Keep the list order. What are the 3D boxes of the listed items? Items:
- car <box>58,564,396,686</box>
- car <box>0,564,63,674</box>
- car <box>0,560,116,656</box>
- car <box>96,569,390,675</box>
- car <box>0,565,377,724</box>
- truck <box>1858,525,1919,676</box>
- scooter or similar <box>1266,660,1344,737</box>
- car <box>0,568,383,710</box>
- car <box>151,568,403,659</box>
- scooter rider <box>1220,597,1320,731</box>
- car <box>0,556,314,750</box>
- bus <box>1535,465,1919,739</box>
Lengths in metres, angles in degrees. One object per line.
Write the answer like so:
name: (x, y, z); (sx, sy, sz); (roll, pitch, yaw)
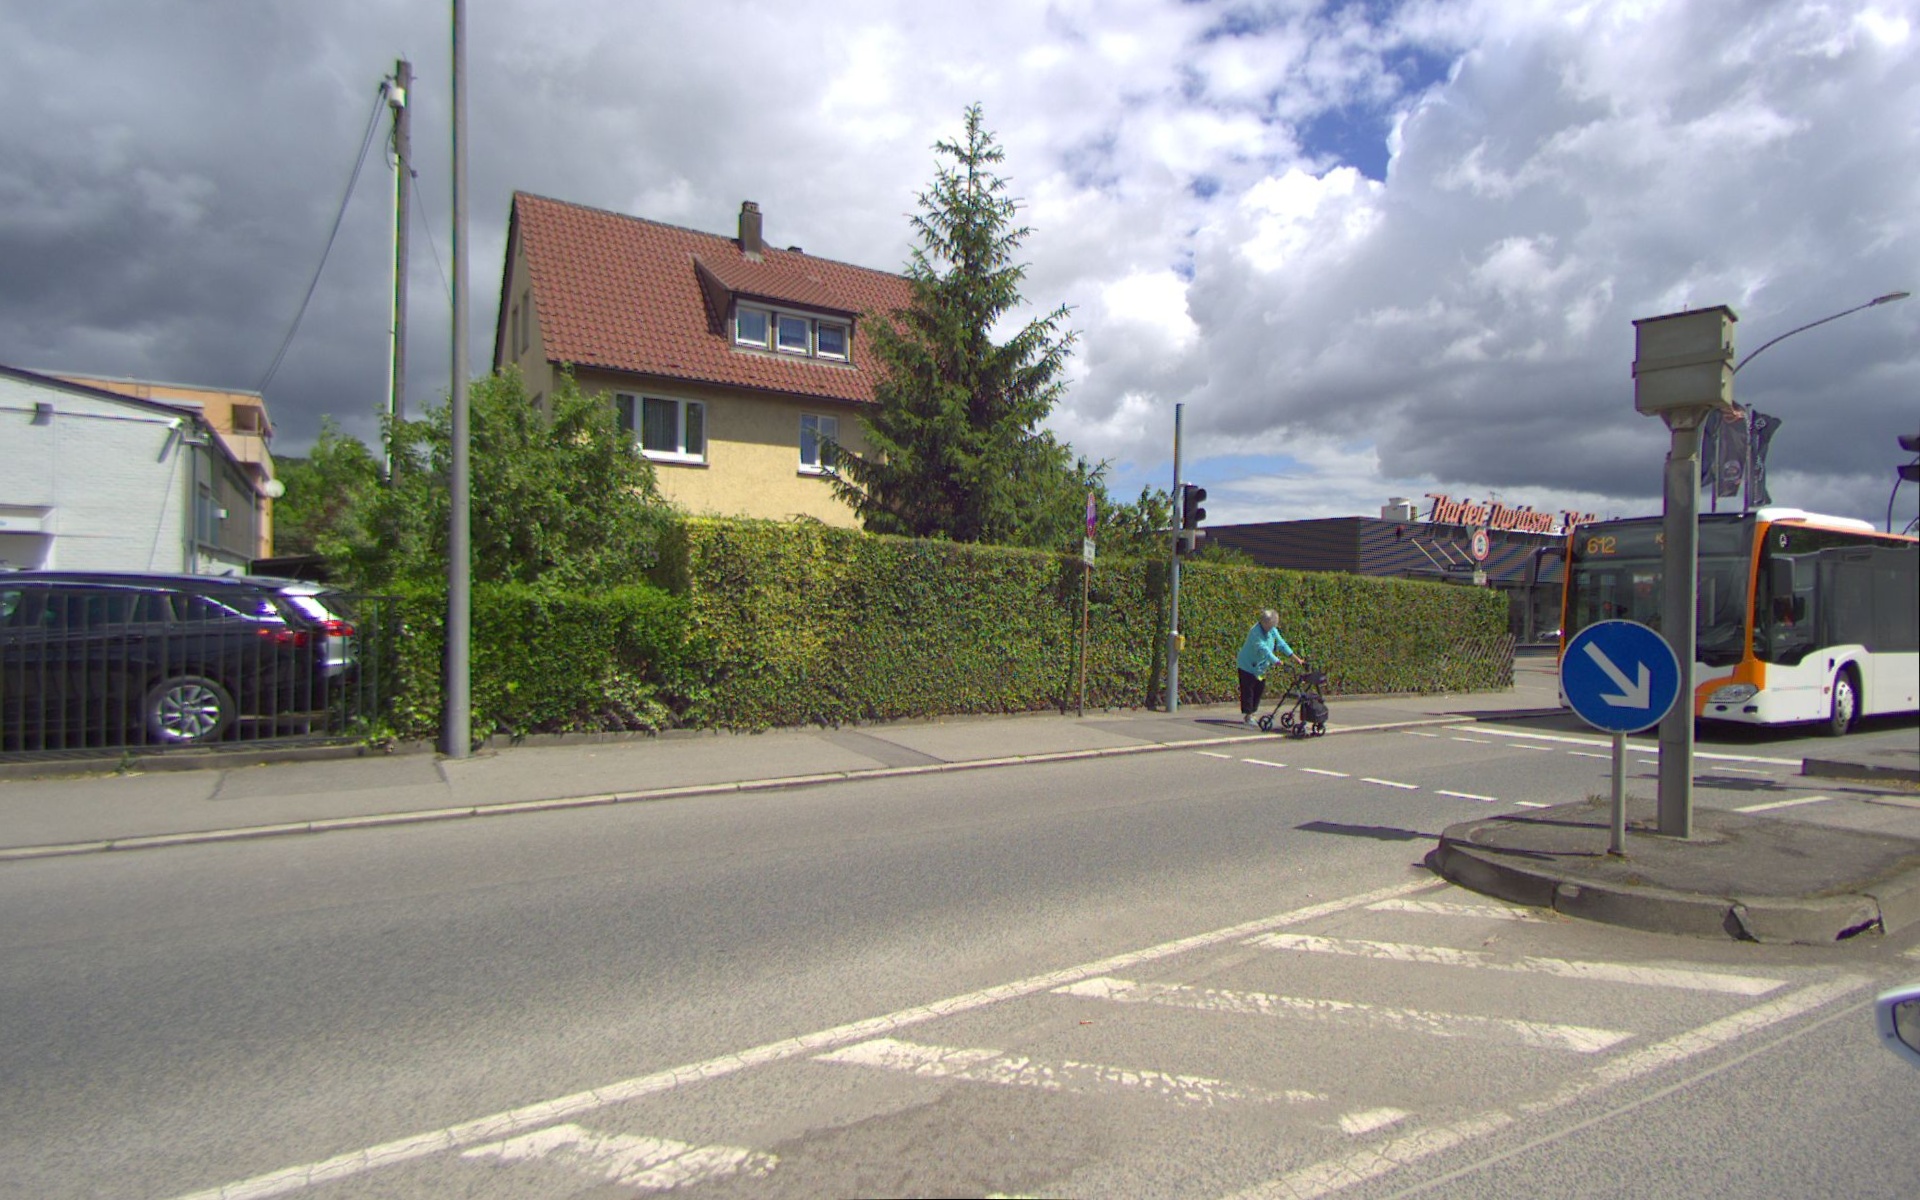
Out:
car: (-10.975, 0.372, 15.380); (3.959, 1.639, 1.765); (1, -1, -34)
car: (-16.035, 0.254, 14.845); (3.963, 1.639, 1.763); (1, -1, -37)
car: (-17.473, 0.127, 17.608); (3.963, 1.639, 1.763); (1, -1, -37)
car: (-12.279, 0.378, 17.429); (3.963, 1.639, 1.763); (1, -1, -37)
car: (-8.964, 0.438, 11.107); (4.224, 1.527, 2.140); (1, 0, -35)
truck: (30.092, 0.125, 30.508); (9.068, 4.186, 2.410); (2, 2, -38)
scooter or similar: (4.243, 1.198, 12.374); (0.652, 0.843, 0.608); (1, 2, -31)
car: (-10.026, 0.488, 13.373); (3.959, 1.639, 1.765); (1, -1, -34)
car: (-13.423, 0.278, 19.904); (3.963, 1.639, 1.763); (1, -1, -37)
scooter rider: (3.961, 0.787, 12.863); (0.787, 1.611, 0.873); (1, 2, -31)
car: (-8.189, 0.414, 8.775); (4.224, 1.527, 2.140); (1, -1, -35)
bus: (14.141, 0.204, 16.402); (11.983, 3.309, 2.764); (2, -1, -31)
